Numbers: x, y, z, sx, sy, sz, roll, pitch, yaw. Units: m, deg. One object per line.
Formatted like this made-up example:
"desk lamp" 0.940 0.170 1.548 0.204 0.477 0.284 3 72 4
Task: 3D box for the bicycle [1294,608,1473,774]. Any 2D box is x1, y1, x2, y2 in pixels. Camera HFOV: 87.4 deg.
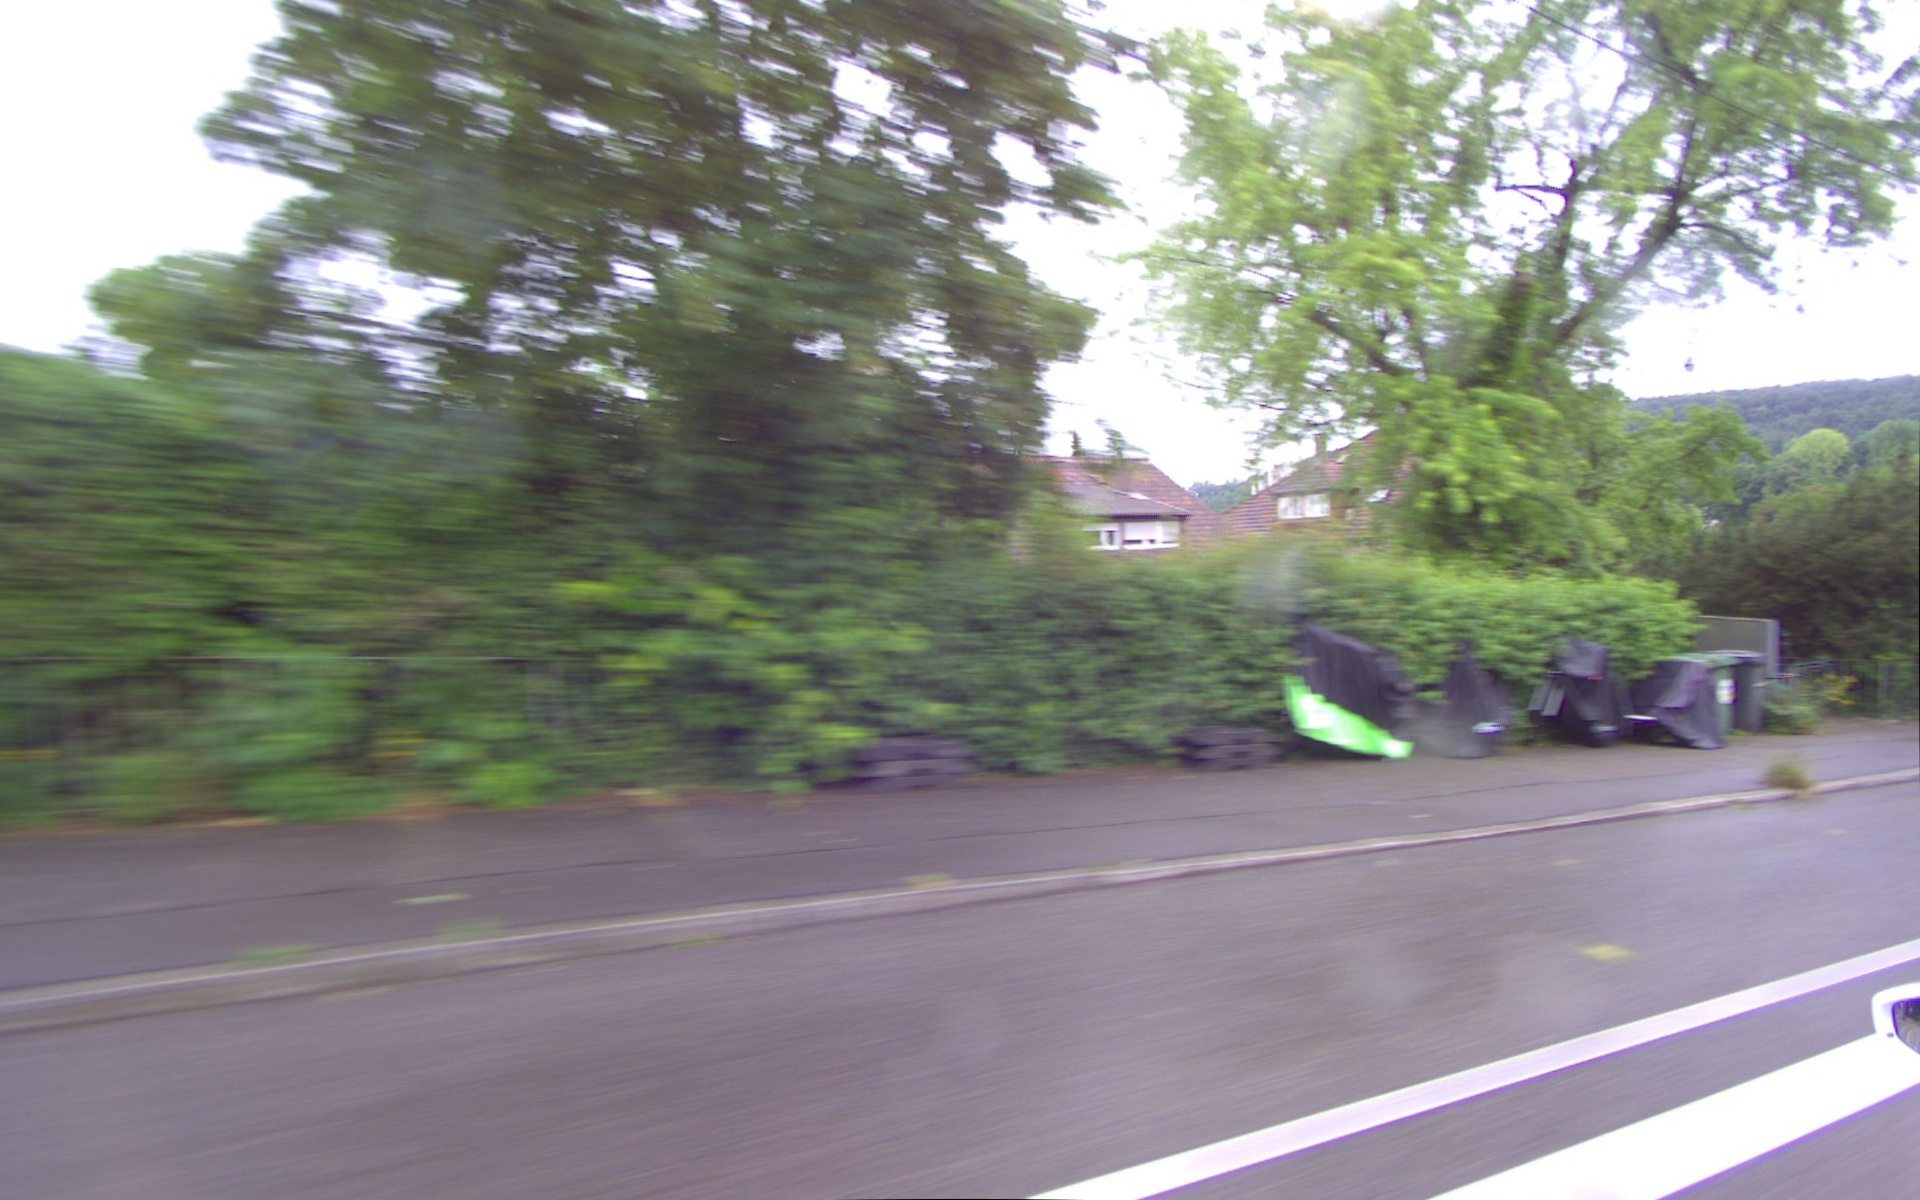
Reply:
"bicycle" 3.773 0.781 8.905 1.720 1.367 0.419 2 0 -27

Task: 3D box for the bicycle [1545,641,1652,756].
"bicycle" 6.647 1.007 10.444 1.240 1.122 0.337 2 0 -27
